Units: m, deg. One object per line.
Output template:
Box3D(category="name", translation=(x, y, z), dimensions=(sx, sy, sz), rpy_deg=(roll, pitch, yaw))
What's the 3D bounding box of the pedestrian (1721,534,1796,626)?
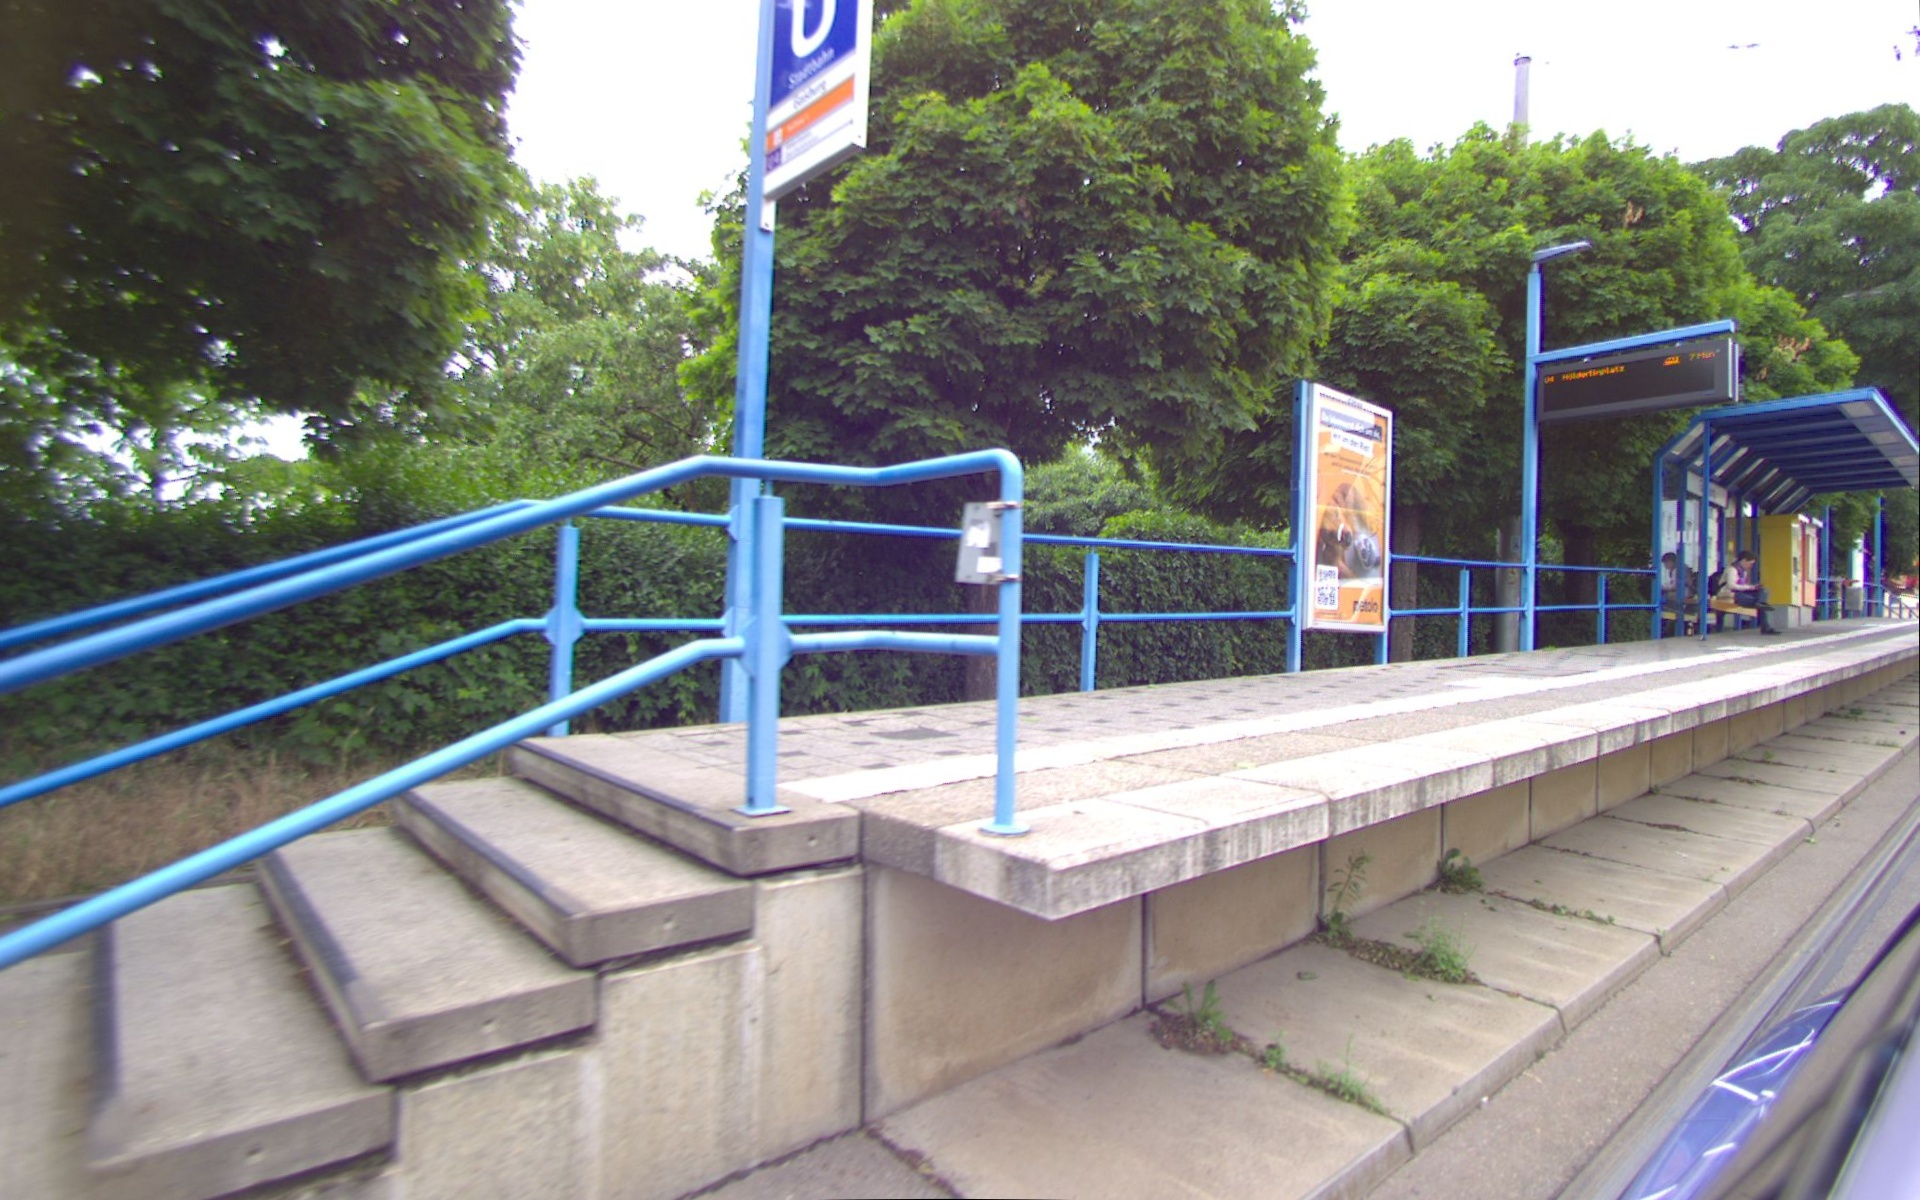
Box3D(category="pedestrian", translation=(11.942, -0.292, 15.136), dimensions=(0.645, 1.331, 0.780), rpy_deg=(0, 0, -40))
